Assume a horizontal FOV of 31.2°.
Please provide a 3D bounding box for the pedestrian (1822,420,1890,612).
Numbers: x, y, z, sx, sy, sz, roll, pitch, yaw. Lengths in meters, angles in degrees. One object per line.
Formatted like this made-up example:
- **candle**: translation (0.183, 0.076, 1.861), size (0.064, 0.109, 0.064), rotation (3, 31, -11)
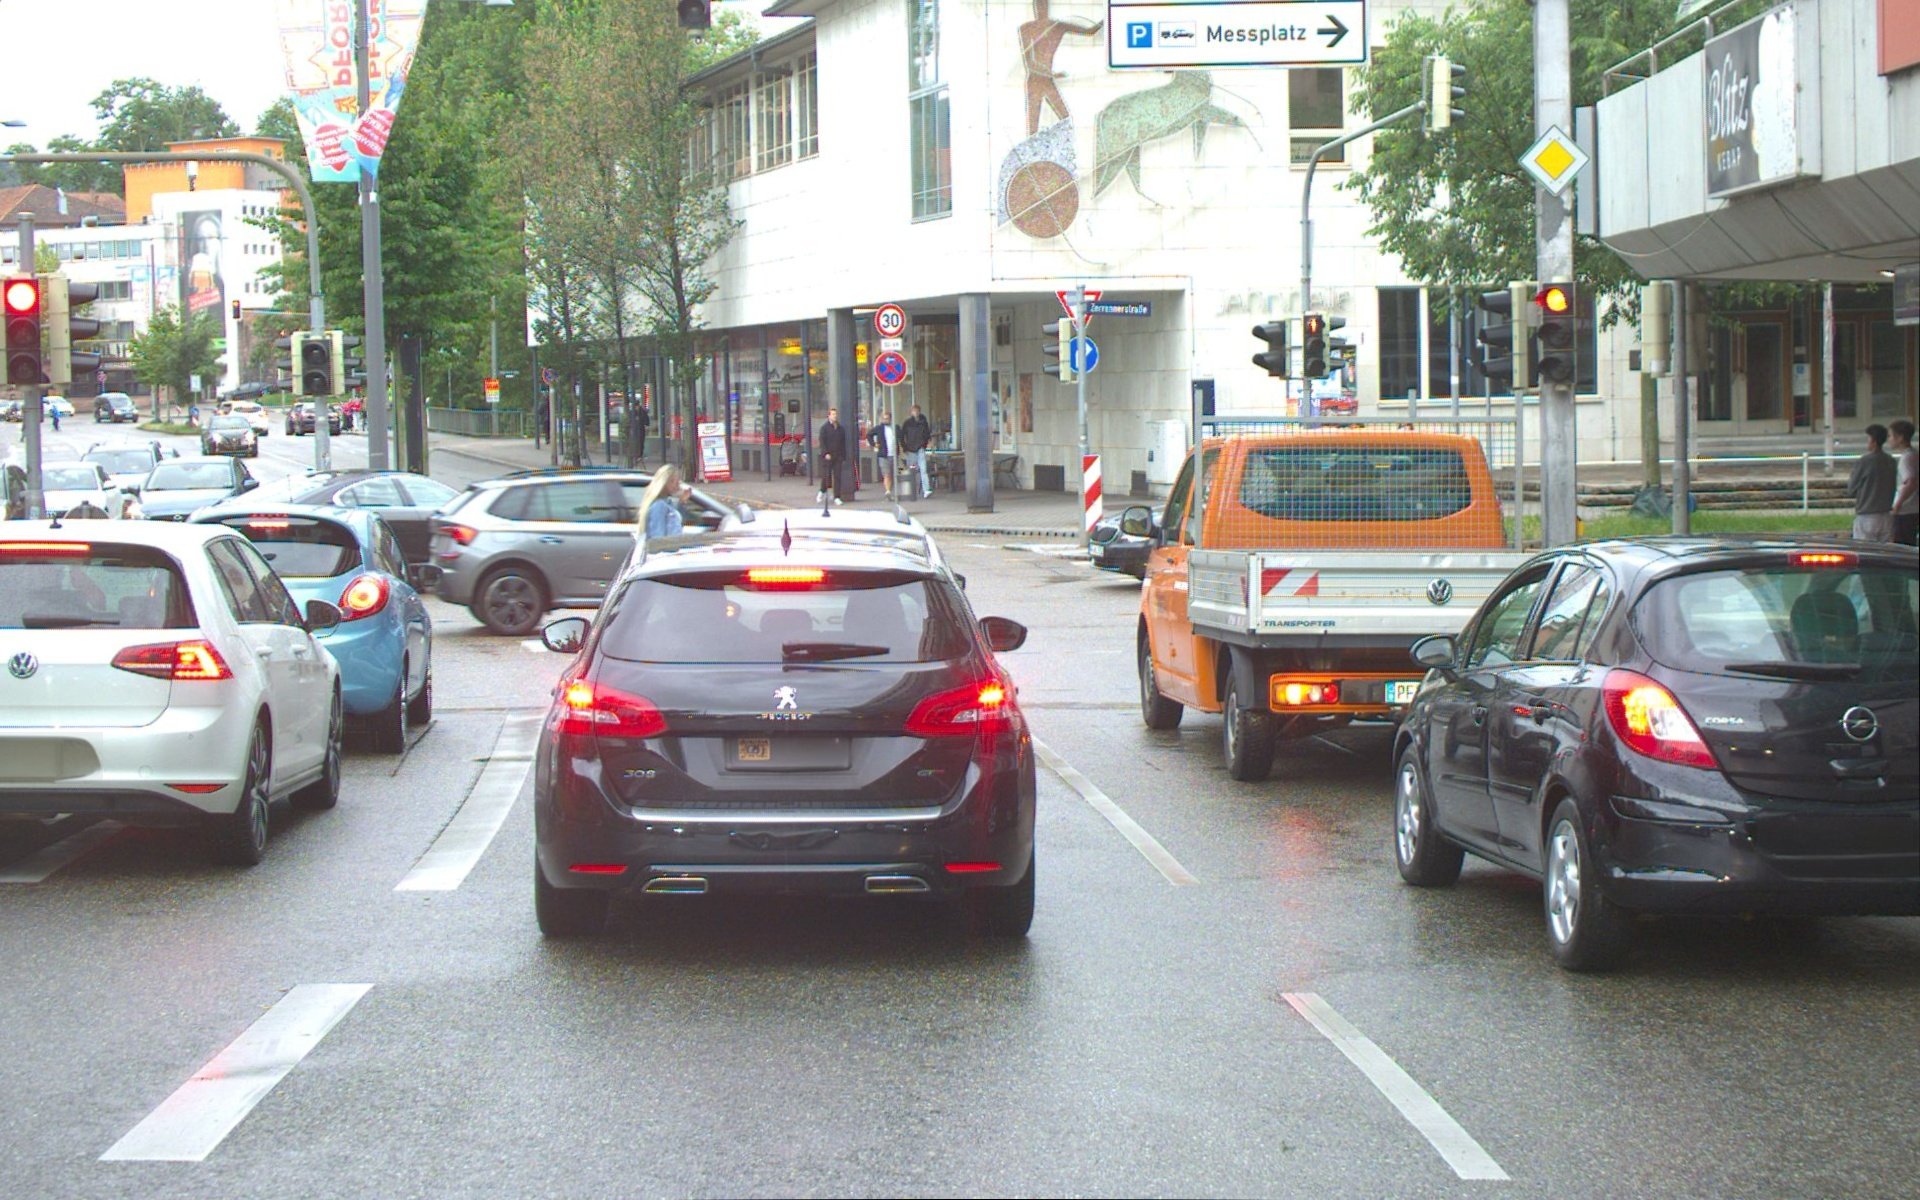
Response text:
- **pedestrian**: translation (7.961, -0.742, 30.557), size (0.425, 1.677, 0.450), rotation (-1, 0, -2)

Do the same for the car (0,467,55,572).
- **car**: translation (-14.567, -1.229, 50.960), size (1.574, 1.481, 3.610), rotation (1, 2, -4)

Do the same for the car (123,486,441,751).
- **car**: translation (-4.187, 0.054, 21.667), size (1.632, 1.481, 3.610), rotation (0, 2, -6)

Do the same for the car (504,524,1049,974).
- **car**: translation (-0.701, 0.452, 13.242), size (1.777, 1.424, 3.843), rotation (1, 2, -3)

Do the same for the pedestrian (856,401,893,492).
- **pedestrian**: translation (-1.682, -3.014, 67.709), size (0.637, 1.752, 0.733), rotation (1, 0, 6)

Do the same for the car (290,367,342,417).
- **car**: translation (-28.217, -9.093, 150.595), size (1.705, 1.929, 4.001), rotation (1, 0, -18)

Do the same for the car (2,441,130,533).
- **car**: translation (-15.061, -1.924, 58.076), size (1.632, 1.481, 3.611), rotation (0, 2, -7)

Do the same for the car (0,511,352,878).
- **car**: translation (-3.906, 0.331, 15.650), size (1.777, 1.424, 3.843), rotation (1, 2, -3)

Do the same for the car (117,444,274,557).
- **car**: translation (-11.512, -1.470, 51.968), size (1.744, 1.574, 4.001), rotation (1, 0, -4)

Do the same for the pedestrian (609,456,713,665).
- **pedestrian**: translation (-2.429, -0.318, 27.996), size (0.748, 1.674, 0.709), rotation (1, 0, 1)

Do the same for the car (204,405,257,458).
- **car**: translation (-25.419, -5.866, 119.905), size (1.744, 1.634, 4.001), rotation (1, 0, -11)

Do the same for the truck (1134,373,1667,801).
- **truck**: translation (2.374, -0.169, 20.057), size (2.177, 2.165, 5.021), rotation (1, 2, -3)

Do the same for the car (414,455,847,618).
- **car**: translation (-3.199, -0.591, 33.168), size (3.986, 1.481, 1.624), rotation (1, 0, -12)

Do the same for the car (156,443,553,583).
- **car**: translation (-6.969, -0.970, 40.054), size (1.728, 1.485, 4.723), rotation (1, 0, 34)

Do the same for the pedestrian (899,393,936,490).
- **pedestrian**: translation (-0.838, -3.151, 68.334), size (0.637, 1.891, 0.733), rotation (1, 0, 6)

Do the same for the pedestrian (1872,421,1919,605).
- **pedestrian**: translation (8.493, -0.775, 30.922), size (0.396, 1.634, 0.504), rotation (-1, 0, 0)

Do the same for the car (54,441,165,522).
- **car**: translation (-16.124, -2.264, 65.296), size (1.632, 1.481, 3.611), rotation (0, 2, -7)

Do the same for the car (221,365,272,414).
- **car**: translation (-31.104, -9.173, 149.847), size (1.705, 1.875, 4.001), rotation (1, 0, -18)

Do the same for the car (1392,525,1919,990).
- **car**: translation (2.752, 0.464, 12.834), size (1.616, 1.424, 3.843), rotation (1, 2, -2)

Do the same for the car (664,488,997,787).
- **car**: translation (-0.710, 0.133, 19.563), size (1.696, 1.481, 3.794), rotation (1, 2, -1)
